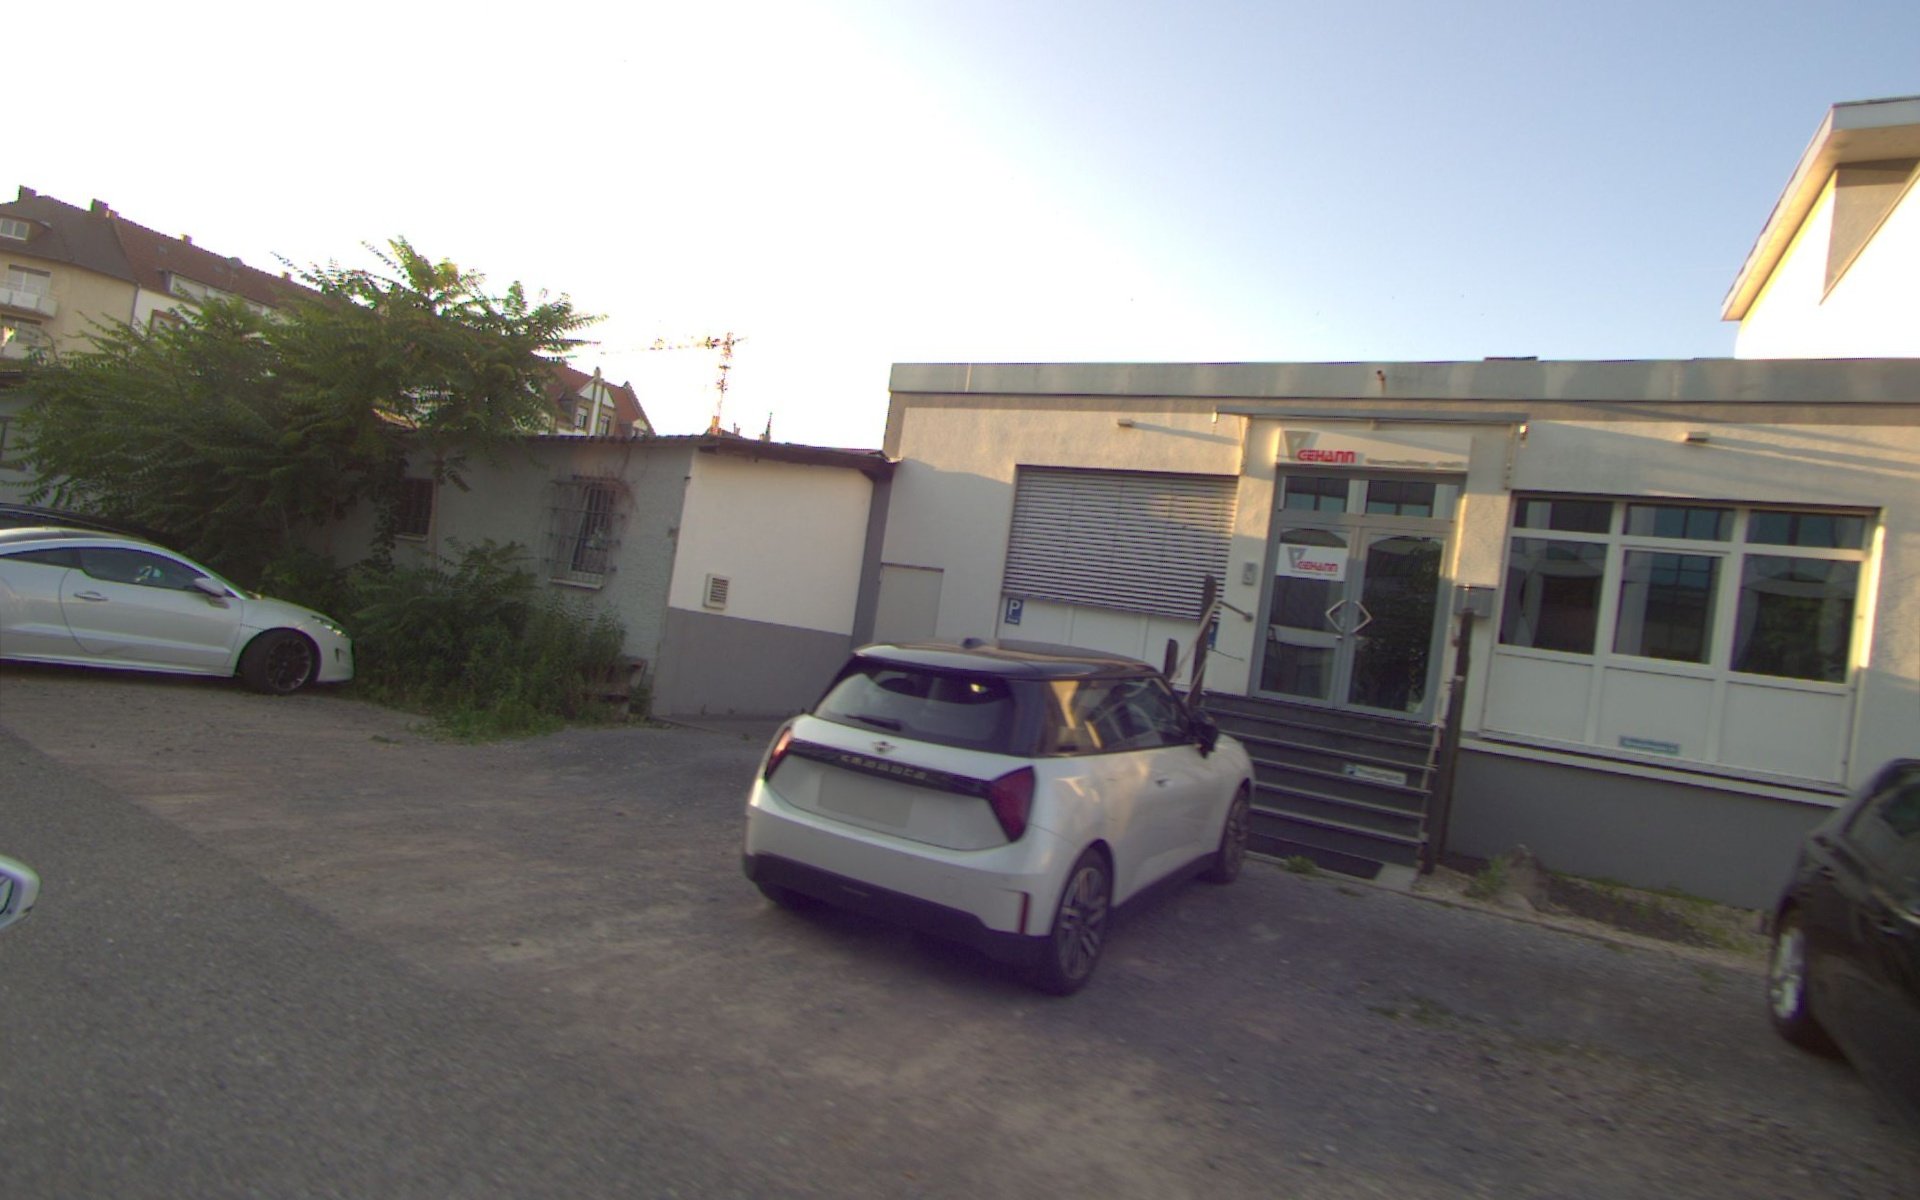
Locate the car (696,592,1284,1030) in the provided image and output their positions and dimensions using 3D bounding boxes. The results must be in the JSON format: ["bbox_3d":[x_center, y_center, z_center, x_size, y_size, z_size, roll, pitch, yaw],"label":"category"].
[{"bbox_3d":[0.514,0.981,5.837,1.683,1.496,3.713,7,-2,31],"label":"car"}]

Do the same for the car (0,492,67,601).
[{"bbox_3d":[-16.629,-1.150,15.330,1.796,1.636,3.998,7,-4,29],"label":"car"}]

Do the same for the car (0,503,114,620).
[{"bbox_3d":[-14.451,-0.785,13.720,1.797,1.460,3.995,6,-5,33],"label":"car"}]

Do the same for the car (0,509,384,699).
[{"bbox_3d":[-8.226,-0.007,9.653,1.795,1.381,4.211,7,-4,36],"label":"car"}]

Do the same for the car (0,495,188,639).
[{"bbox_3d":[-12.417,-0.595,12.317,1.860,1.518,4.213,6,-5,34],"label":"car"}]

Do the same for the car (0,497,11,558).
[{"bbox_3d":[-18.741,-1.370,16.593,1.906,1.626,3.996,7,-4,31],"label":"car"}]

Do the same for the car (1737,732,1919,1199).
[{"bbox_3d":[4.024,1.382,3.163,1.682,1.581,4.015,7,-2,28],"label":"car"}]
